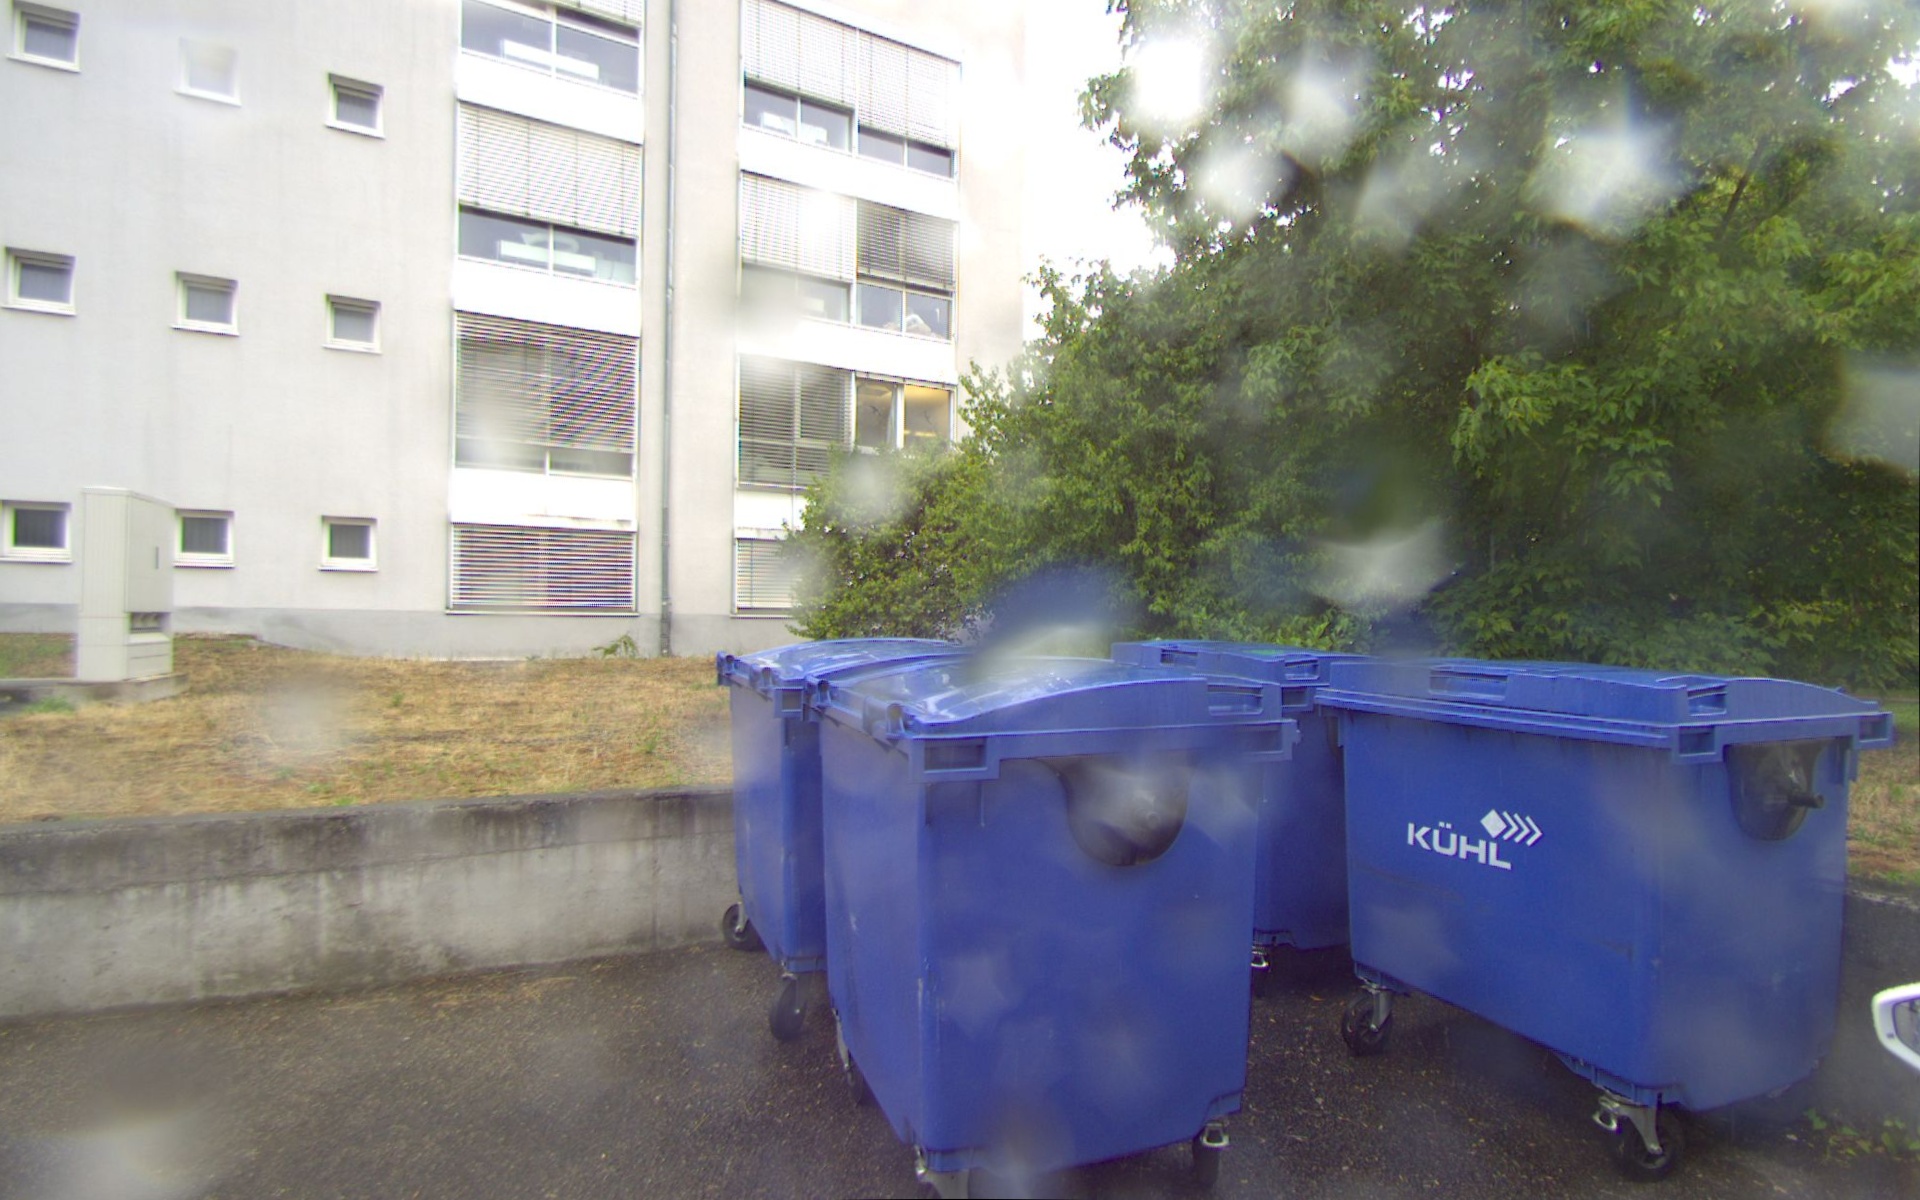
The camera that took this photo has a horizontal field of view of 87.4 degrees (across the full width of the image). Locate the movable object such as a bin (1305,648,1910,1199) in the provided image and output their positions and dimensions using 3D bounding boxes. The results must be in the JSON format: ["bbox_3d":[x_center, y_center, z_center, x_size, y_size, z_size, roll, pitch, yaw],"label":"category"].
[{"bbox_3d":[1.868,0.849,3.071,0.992,1.355,1.219,1,-1,-22],"label":"movable object such as a bin"}]

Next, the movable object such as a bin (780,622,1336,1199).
[{"bbox_3d":[0.160,0.751,2.725,1.099,1.355,1.202,1,-1,-19],"label":"movable object such as a bin"}]

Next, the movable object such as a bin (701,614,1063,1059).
[{"bbox_3d":[-0.364,0.758,3.935,1.100,1.355,1.200,-1,1,-22],"label":"movable object such as a bin"}]

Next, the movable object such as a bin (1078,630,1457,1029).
[{"bbox_3d":[1.233,0.822,4.256,0.992,1.355,1.219,0,0,-22],"label":"movable object such as a bin"}]
